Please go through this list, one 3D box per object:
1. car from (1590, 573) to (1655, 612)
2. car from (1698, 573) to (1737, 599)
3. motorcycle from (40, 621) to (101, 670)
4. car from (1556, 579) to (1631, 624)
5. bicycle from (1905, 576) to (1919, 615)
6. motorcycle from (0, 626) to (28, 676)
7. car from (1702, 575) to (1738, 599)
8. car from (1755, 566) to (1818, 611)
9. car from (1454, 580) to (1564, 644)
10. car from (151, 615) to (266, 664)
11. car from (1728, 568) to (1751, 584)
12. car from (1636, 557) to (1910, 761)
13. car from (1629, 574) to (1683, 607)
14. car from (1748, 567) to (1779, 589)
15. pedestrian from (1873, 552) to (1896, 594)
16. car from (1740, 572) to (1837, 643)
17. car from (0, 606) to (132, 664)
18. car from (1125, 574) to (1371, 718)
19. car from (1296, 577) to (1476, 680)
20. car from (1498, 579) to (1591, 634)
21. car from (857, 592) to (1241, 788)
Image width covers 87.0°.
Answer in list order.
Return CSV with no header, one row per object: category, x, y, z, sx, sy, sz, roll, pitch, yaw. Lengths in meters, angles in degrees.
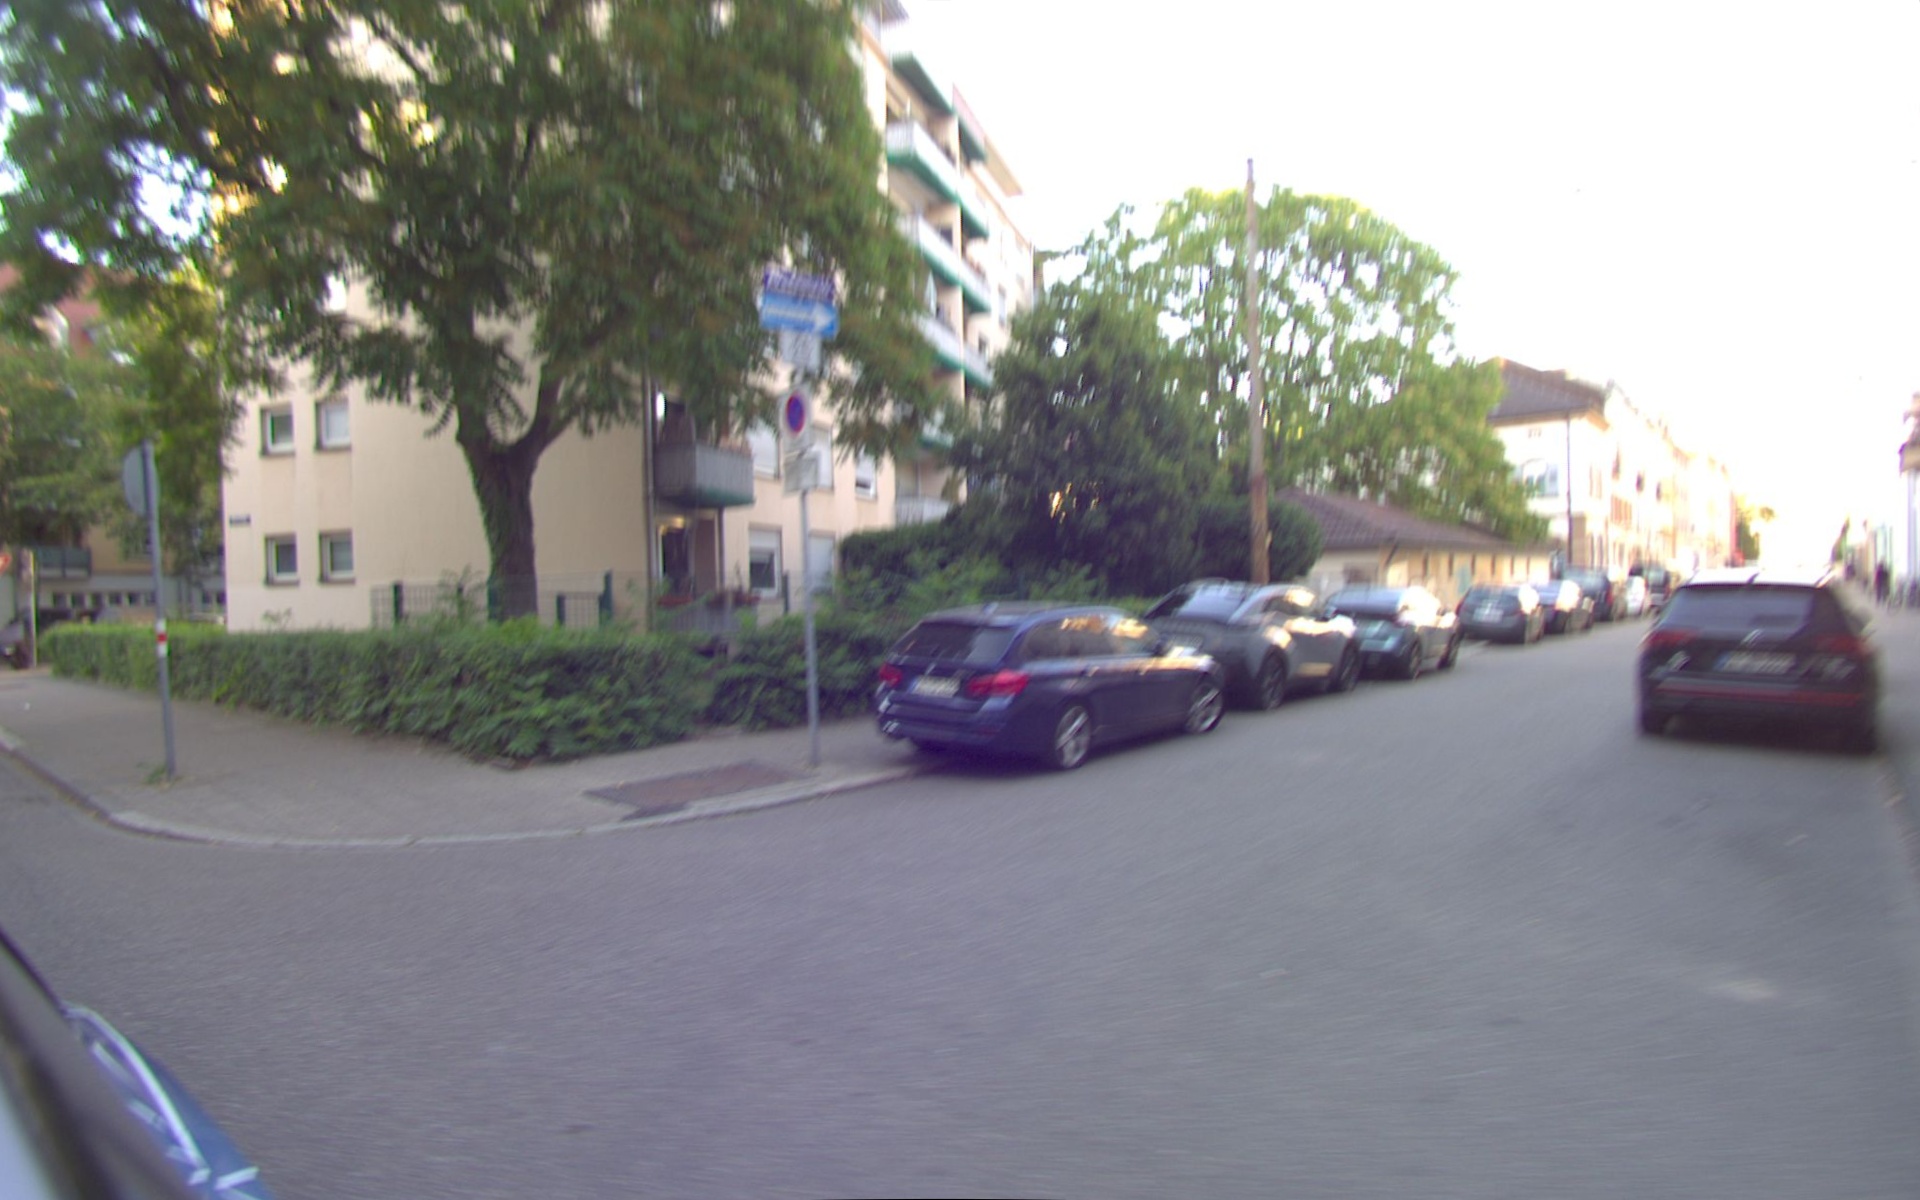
car,26.393,-0.342,40.280,1.711,1.468,3.921,2,2,40
car,51.326,-0.926,68.524,1.998,1.672,3.948,-1,0,38
motorcycle,-26.741,1.371,30.409,1.958,1.417,0.568,-1,0,23
car,22.431,0.016,35.801,1.711,1.468,3.921,2,2,40
bicycle,32.602,-0.175,34.335,0.661,1.297,2.399,-1,0,41
motorcycle,-27.102,1.429,28.715,0.846,1.363,1.962,-1,0,-40
car,56.998,-0.969,75.863,1.998,1.711,3.948,-1,0,38
car,27.861,-0.410,34.128,1.560,1.451,3.328,2,2,40
car,14.072,0.240,25.848,1.711,1.468,3.921,2,2,40
car,-25.240,1.320,33.977,3.480,1.518,1.620,-2,0,25
car,79.164,-2.435,102.770,1.711,1.613,3.921,-1,0,40
car,8.224,0.424,10.285,1.820,1.647,3.921,2,2,40
car,32.776,-0.474,47.621,1.711,1.468,3.921,2,2,40
car,69.439,-1.854,87.483,1.998,1.792,3.948,-1,-1,38
pedestrian,38.318,-1.111,41.936,0.607,1.718,0.563,-2,1,37
car,18.529,0.116,22.641,1.560,1.451,3.328,2,2,40
car,-35.229,1.329,39.798,4.295,2.092,2.215,1,0,19
car,4.147,0.521,14.173,1.726,1.717,4.070,-1,0,41
car,7.656,0.427,18.001,1.829,1.588,3.946,-1,1,41
car,17.211,0.133,29.735,1.711,1.468,3.921,2,2,40
car,1.110,0.696,10.166,1.725,1.493,4.328,-1,1,39
